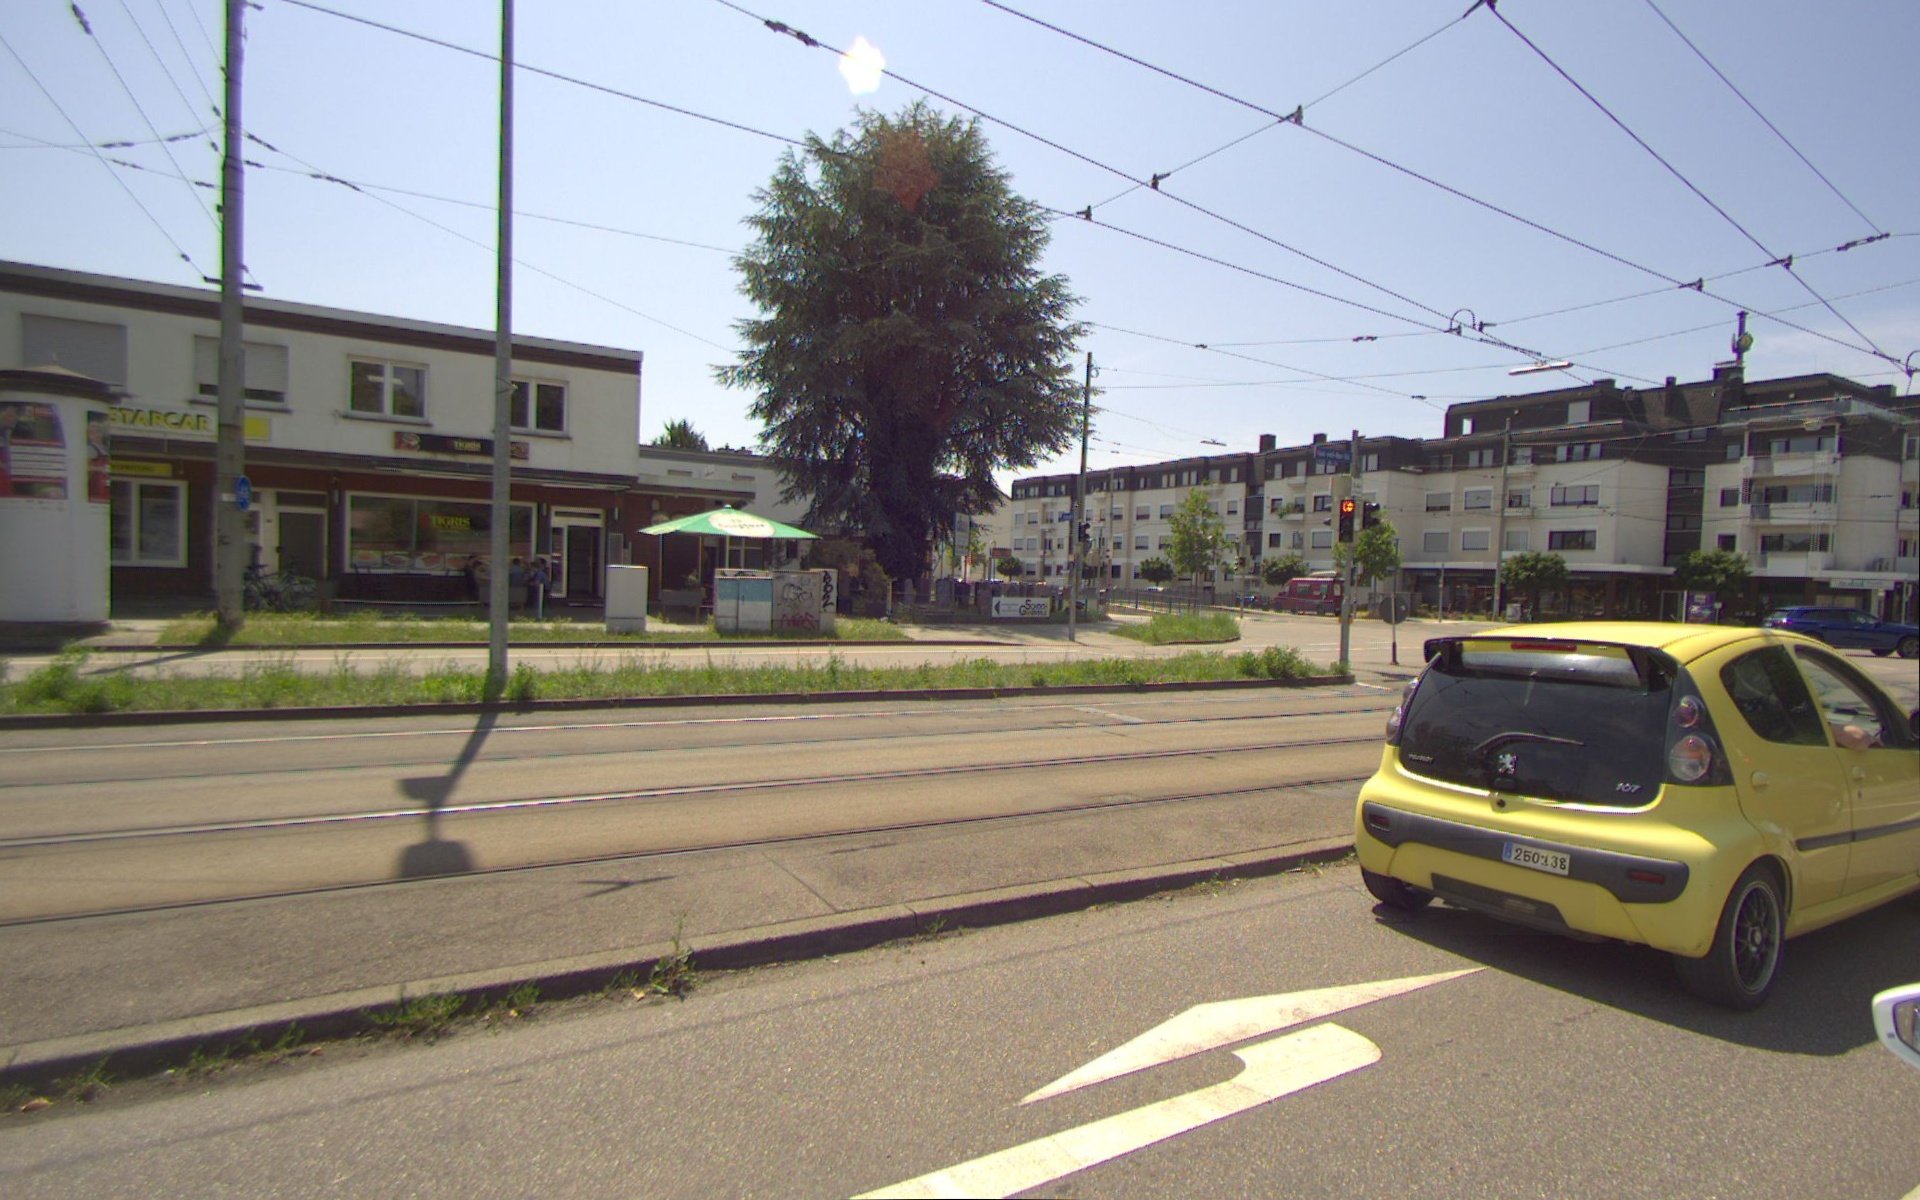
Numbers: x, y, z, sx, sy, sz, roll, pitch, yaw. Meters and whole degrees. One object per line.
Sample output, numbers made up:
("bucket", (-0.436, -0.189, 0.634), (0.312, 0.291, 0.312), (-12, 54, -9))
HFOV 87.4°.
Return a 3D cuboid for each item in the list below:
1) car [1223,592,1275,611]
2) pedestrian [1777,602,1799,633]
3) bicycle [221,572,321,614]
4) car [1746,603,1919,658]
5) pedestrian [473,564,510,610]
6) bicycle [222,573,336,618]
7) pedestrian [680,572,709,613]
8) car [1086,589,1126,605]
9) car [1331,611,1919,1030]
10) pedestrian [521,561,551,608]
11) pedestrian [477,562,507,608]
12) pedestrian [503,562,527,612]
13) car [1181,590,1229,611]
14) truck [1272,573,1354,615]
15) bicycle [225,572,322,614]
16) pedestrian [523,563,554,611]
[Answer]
("car", (21.072, 0.111, 73.409), (1.571, 1.235, 3.553), (1, 1, -29))
("pedestrian", (47.159, 1.021, 57.223), (0.696, 1.719, 0.798), (1, 2, -41))
("bicycle", (-15.205, -0.146, 22.204), (1.767, 0.859, 0.525), (2, 4, -31))
("car", (30.846, 1.042, 35.343), (4.539, 1.646, 2.000), (2, 1, 18))
("pedestrian", (-12.129, -0.339, 26.005), (0.801, 1.142, 0.561), (1, 2, -30))
("bicycle", (-14.374, -0.088, 21.265), (1.936, 0.859, 0.599), (2, 4, -31))
("pedestrian", (-7.548, -0.220, 28.563), (0.666, 1.142, 0.514), (1, 2, -30))
("car", (12.706, -0.271, 87.491), (1.571, 1.257, 3.553), (1, 1, -29))
("car", (3.751, 0.820, 5.116), (3.614, 1.440, 1.607), (2, -1, -31))
("pedestrian", (-11.436, -0.414, 27.113), (0.666, 1.225, 0.514), (1, 2, -30))
("pedestrian", (-12.407, -0.394, 26.632), (0.666, 1.179, 0.514), (1, 2, -30))
("pedestrian", (-11.397, -0.336, 25.724), (0.486, 1.255, 0.572), (1, 2, -31))
("car", (18.747, 0.026, 76.985), (1.571, 1.452, 3.553), (1, 1, -29))
("truck", (23.869, -0.443, 68.168), (2.161, 2.734, 5.002), (1, 1, -29))
("bicycle", (-15.479, -0.156, 22.689), (1.767, 0.859, 0.525), (2, 4, -31))
("pedestrian", (-11.153, -0.345, 26.564), (0.666, 1.215, 0.514), (1, 2, -30))
